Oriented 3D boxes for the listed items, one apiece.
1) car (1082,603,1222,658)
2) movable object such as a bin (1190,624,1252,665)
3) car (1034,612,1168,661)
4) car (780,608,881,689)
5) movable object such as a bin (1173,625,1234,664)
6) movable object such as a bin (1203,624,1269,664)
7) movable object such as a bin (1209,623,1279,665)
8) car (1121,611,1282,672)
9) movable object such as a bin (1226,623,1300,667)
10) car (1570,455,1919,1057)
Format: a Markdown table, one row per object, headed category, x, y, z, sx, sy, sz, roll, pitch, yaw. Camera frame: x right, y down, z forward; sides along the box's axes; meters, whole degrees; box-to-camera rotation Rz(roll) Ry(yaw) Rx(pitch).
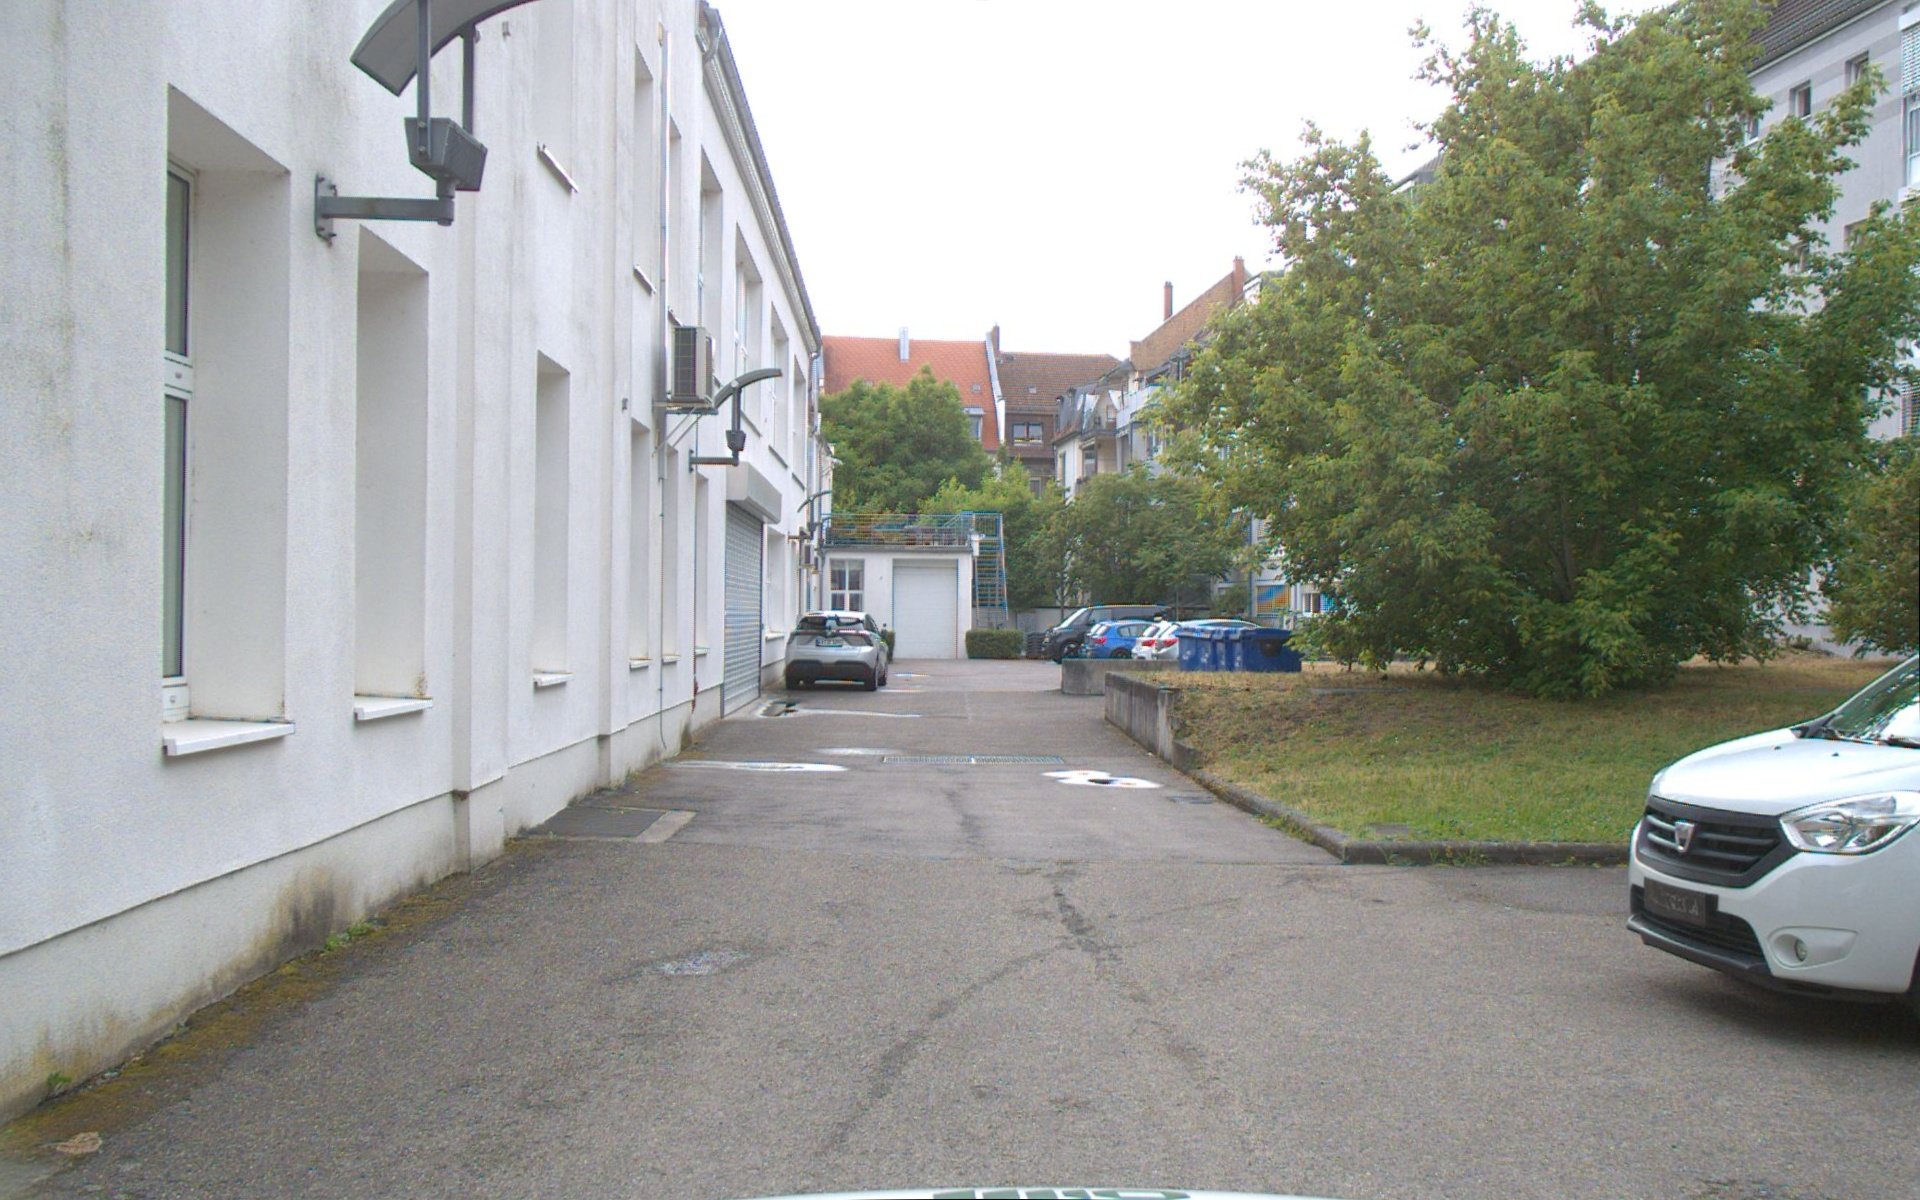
| category | x | y | z | sx | sy | sz | roll | pitch | yaw |
| --- | --- | --- | --- | --- | --- | --- | --- | --- | --- |
| car | 5.790 | 0.919 | 50.074 | 3.918 | 1.601 | 1.580 | 0 | 0 | -13 |
| movable object such as a bin | 4.502 | 0.774 | 28.565 | 0.945 | 0.691 | 0.811 | 1 | -1 | -1 |
| car | 4.729 | 1.211 | 55.768 | 4.110 | 1.601 | 1.993 | 0 | 0 | -13 |
| car | -2.549 | 0.964 | 33.381 | 1.810 | 1.534 | 3.998 | 1 | -1 | -2 |
| movable object such as a bin | 4.345 | 0.794 | 29.595 | 0.945 | 0.691 | 0.870 | 1 | -1 | -1 |
| movable object such as a bin | 4.587 | 0.730 | 27.537 | 0.945 | 0.648 | 0.911 | 1 | -1 | -1 |
| movable object such as a bin | 4.516 | 0.704 | 26.379 | 0.945 | 0.648 | 0.911 | 1 | -1 | -1 |
| car | 6.562 | 1.116 | 45.159 | 3.918 | 1.601 | 1.993 | 0 | 0 | -13 |
| movable object such as a bin | 4.585 | 0.677 | 25.089 | 0.945 | 0.648 | 0.911 | 1 | -1 | -1 |
| car | 4.974 | 0.571 | 6.832 | 4.255 | 2.049 | 1.851 | 1 | -1 | -7 |
